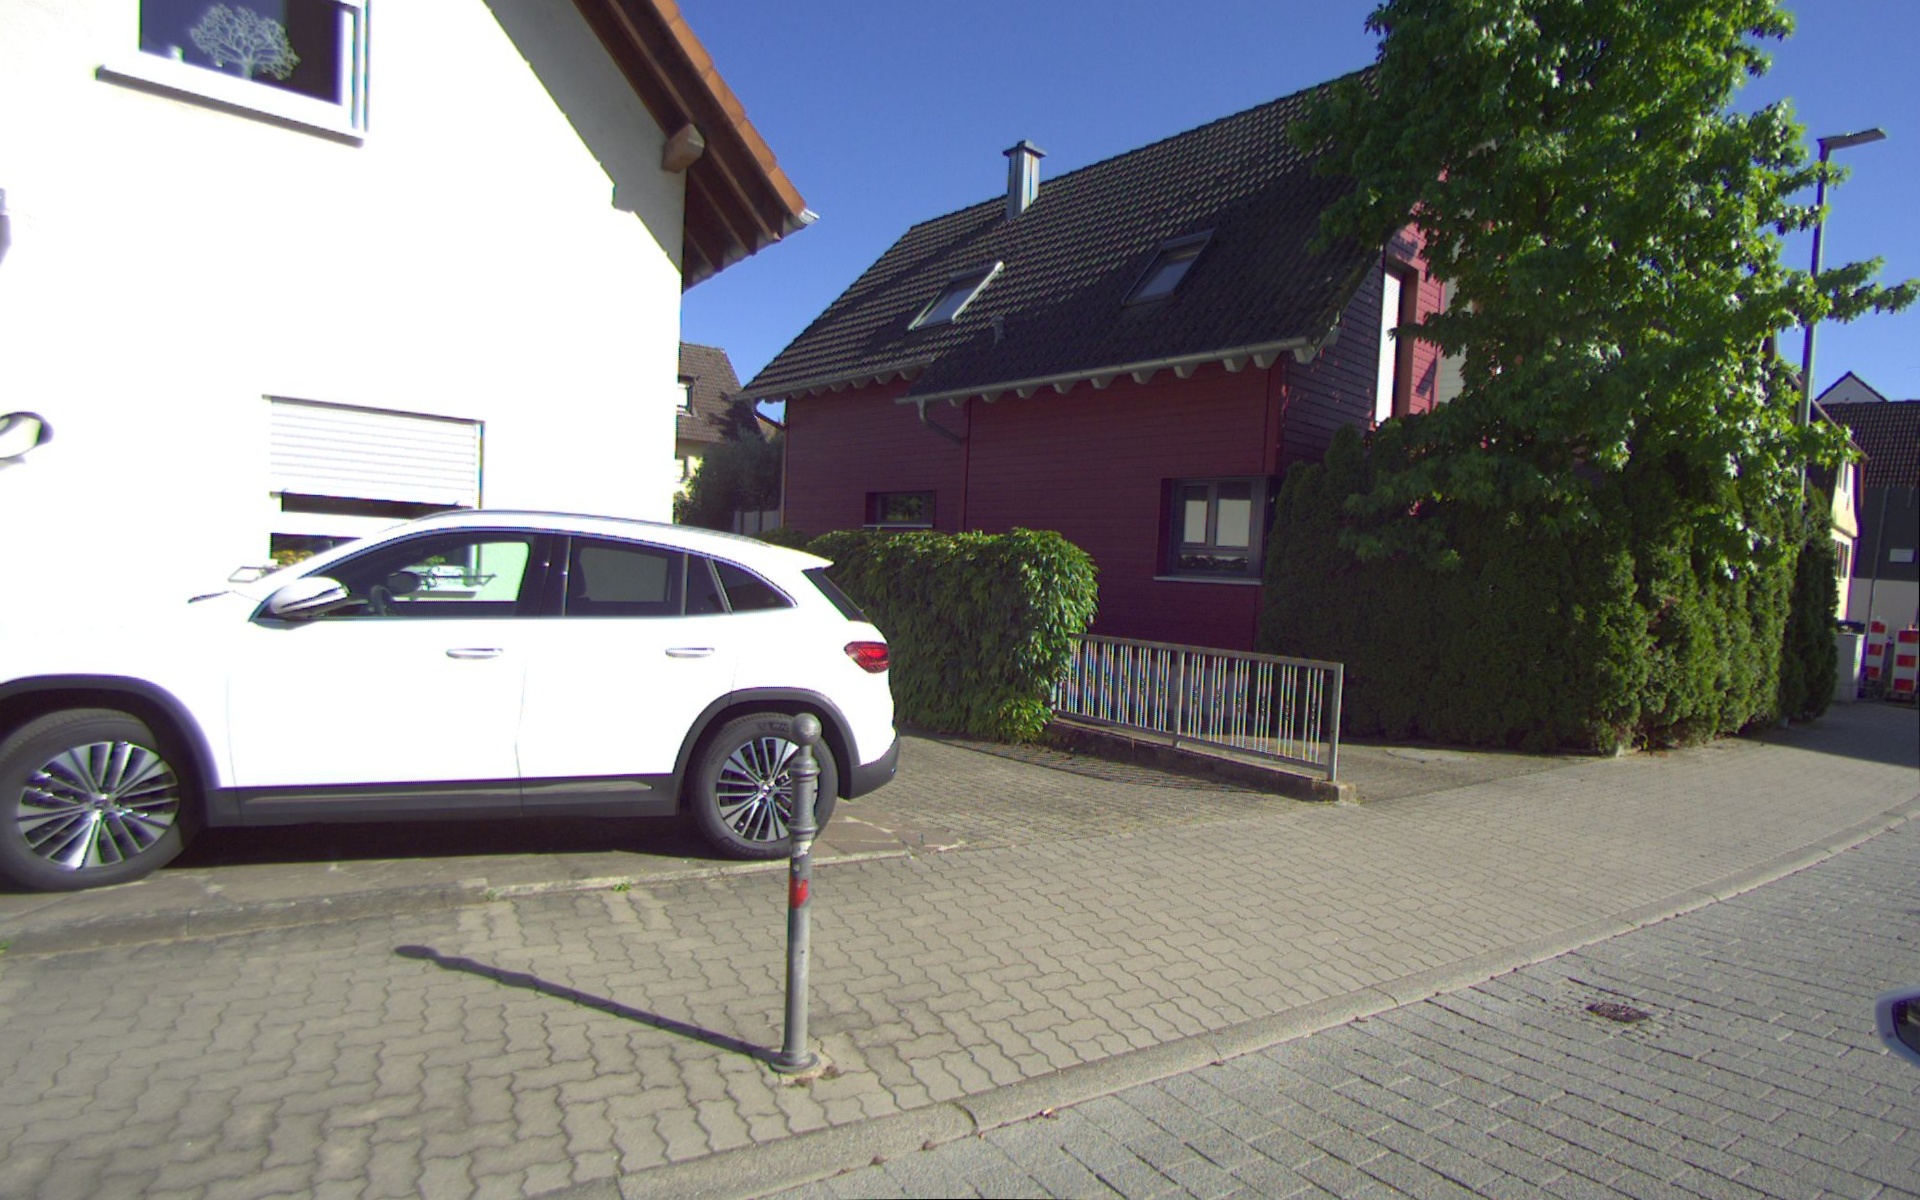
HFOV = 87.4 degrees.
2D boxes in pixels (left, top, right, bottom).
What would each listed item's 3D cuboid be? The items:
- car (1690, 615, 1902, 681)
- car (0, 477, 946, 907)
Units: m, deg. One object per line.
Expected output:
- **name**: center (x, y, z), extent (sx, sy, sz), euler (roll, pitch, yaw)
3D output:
- **car**: center (21.895, 1.197, 26.404), extent (1.836, 1.481, 4.117), euler (1, 0, -44)
- **car**: center (-2.459, 0.356, 5.144), extent (4.379, 1.617, 1.814), euler (2, 3, -20)
